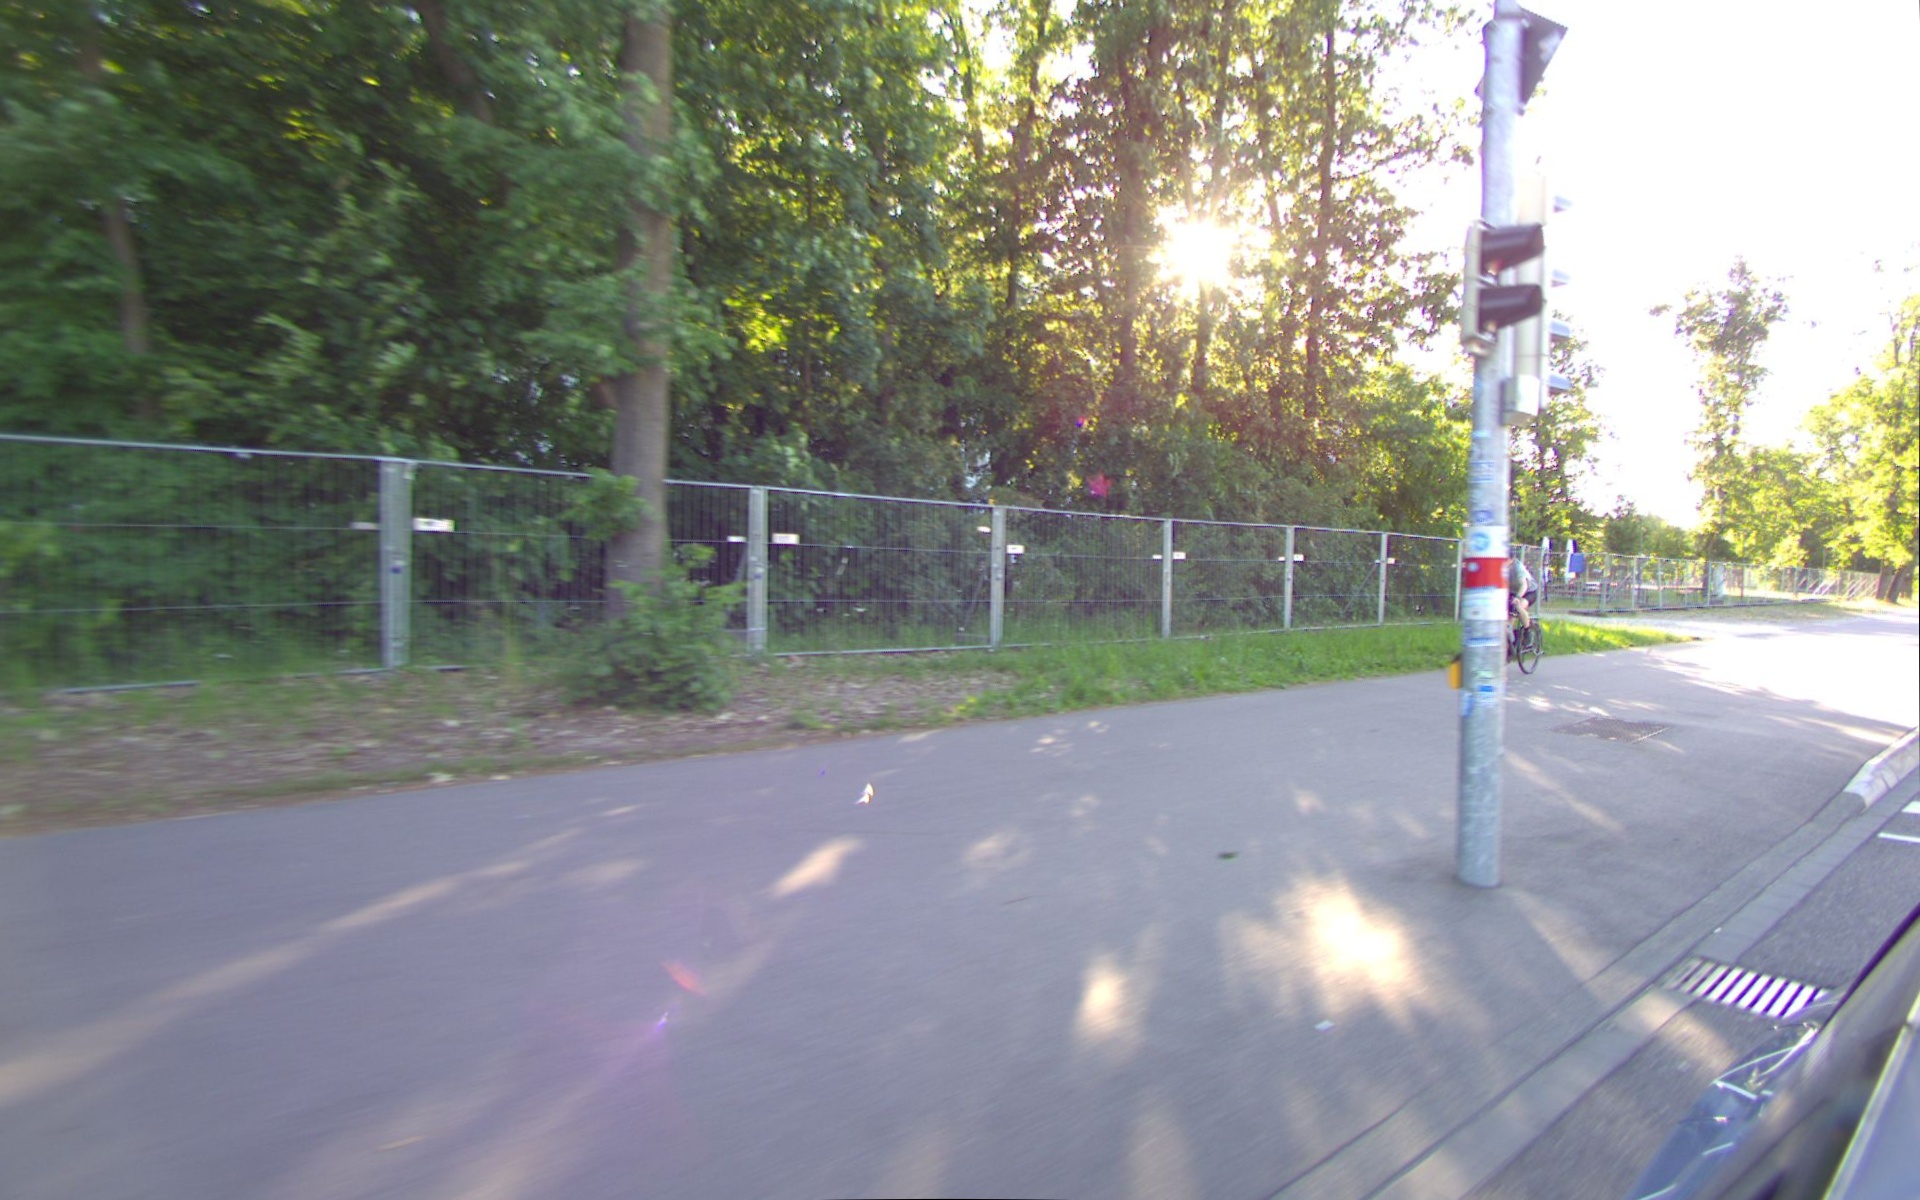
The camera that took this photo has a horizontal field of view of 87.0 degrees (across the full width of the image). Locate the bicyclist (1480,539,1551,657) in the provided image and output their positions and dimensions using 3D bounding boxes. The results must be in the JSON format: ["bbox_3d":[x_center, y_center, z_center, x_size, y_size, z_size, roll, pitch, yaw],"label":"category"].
[{"bbox_3d":[7.304,-0.041,13.306,0.846,1.487,0.521,-1,2,-40],"label":"bicyclist"}]

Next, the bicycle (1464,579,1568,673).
[{"bbox_3d":[7.364,0.309,13.368,1.831,1.151,0.555,-1,3,-40],"label":"bicycle"}]
